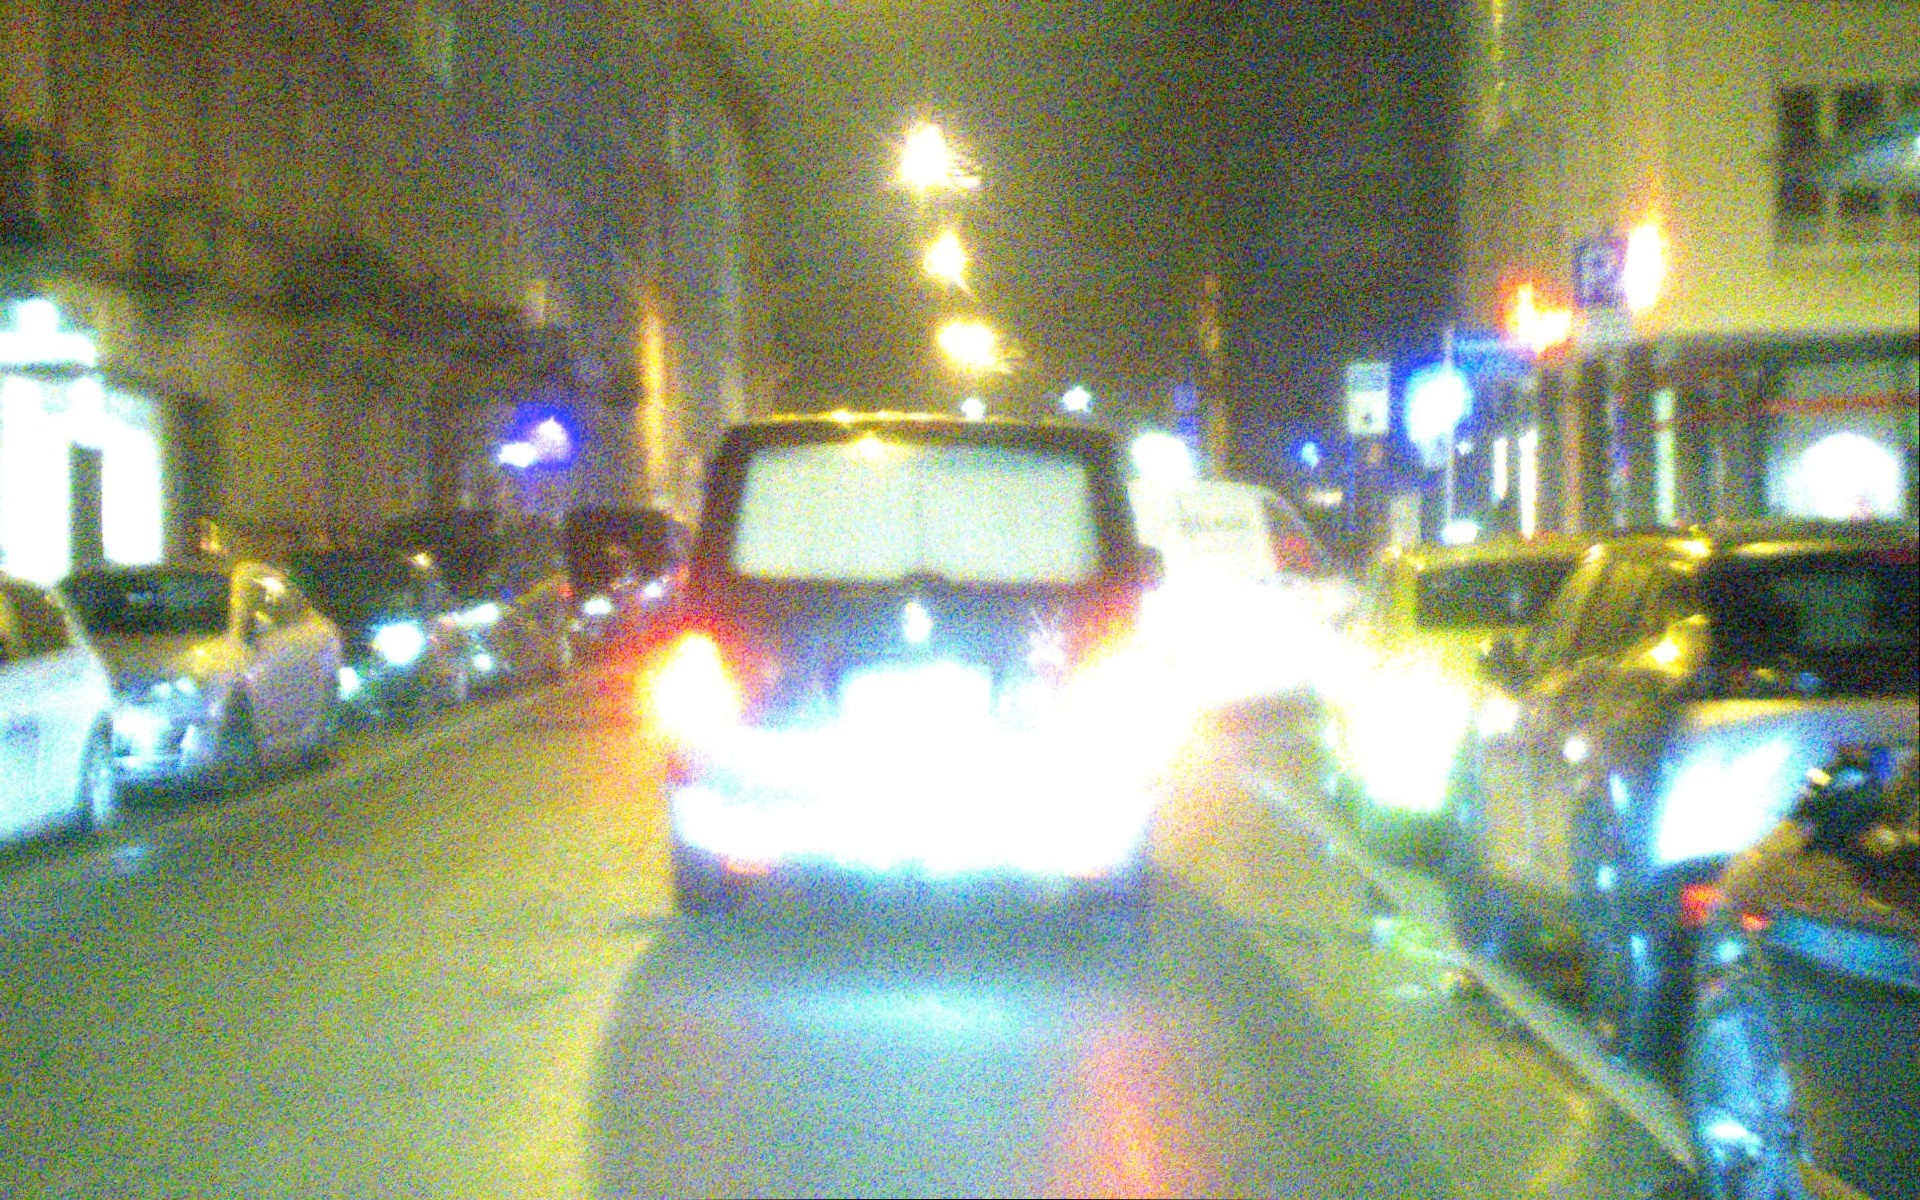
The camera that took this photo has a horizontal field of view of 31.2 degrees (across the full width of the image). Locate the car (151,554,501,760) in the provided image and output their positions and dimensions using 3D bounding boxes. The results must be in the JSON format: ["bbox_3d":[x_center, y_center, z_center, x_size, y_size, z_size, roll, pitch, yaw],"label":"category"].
[{"bbox_3d":[-4.837,0.385,26.786,1.993,1.444,4.000,1,1,0],"label":"car"}]

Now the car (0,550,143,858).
[{"bbox_3d":[-5.268,0.481,16.283,1.690,1.396,4.317,0,1,1],"label":"car"}]

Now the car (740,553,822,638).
[{"bbox_3d":[-4.375,-0.135,84.619,1.749,2.007,4.000,1,1,0],"label":"car"}]

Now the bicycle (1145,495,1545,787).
[{"bbox_3d":[2.396,0.254,21.647,2.320,1.633,0.888,-4,0,2],"label":"bicycle"}]

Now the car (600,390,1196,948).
[{"bbox_3d":[-0.308,0.199,14.565,2.122,1.984,4.601,0,1,-2],"label":"car"}]

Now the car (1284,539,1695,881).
[{"bbox_3d":[2.566,0.492,17.317,1.592,1.538,3.420,0,0,1],"label":"car"}]

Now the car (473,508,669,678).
[{"bbox_3d":[-4.840,-0.108,43.283,1.993,2.007,4.000,1,1,0],"label":"car"}]

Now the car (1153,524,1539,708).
[{"bbox_3d":[4.487,0.180,40.203,3.986,2.007,2.000,-1,0,-15],"label":"car"}]

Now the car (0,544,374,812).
[{"bbox_3d":[-5.081,0.404,21.906,1.754,1.444,4.623,2,1,1],"label":"car"}]

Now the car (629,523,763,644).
[{"bbox_3d":[-4.601,-0.307,60.434,1.993,2.007,4.000,1,1,0],"label":"car"}]

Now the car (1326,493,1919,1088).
[{"bbox_3d":[2.318,0.511,11.317,1.753,1.602,3.990,0,0,-1],"label":"car"}]

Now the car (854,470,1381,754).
[{"bbox_3d":[1.308,0.018,25.813,2.126,1.915,4.819,1,1,27],"label":"car"}]

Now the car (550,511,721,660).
[{"bbox_3d":[-4.580,-0.222,49.023,1.993,2.007,4.000,1,1,0],"label":"car"}]

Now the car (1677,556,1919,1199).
[{"bbox_3d":[2.422,0.705,5.096,1.753,1.532,4.398,0,0,-1],"label":"car"}]

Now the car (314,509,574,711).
[{"bbox_3d":[-5.054,0.068,34.179,1.993,1.856,4.094,1,1,-1],"label":"car"}]
